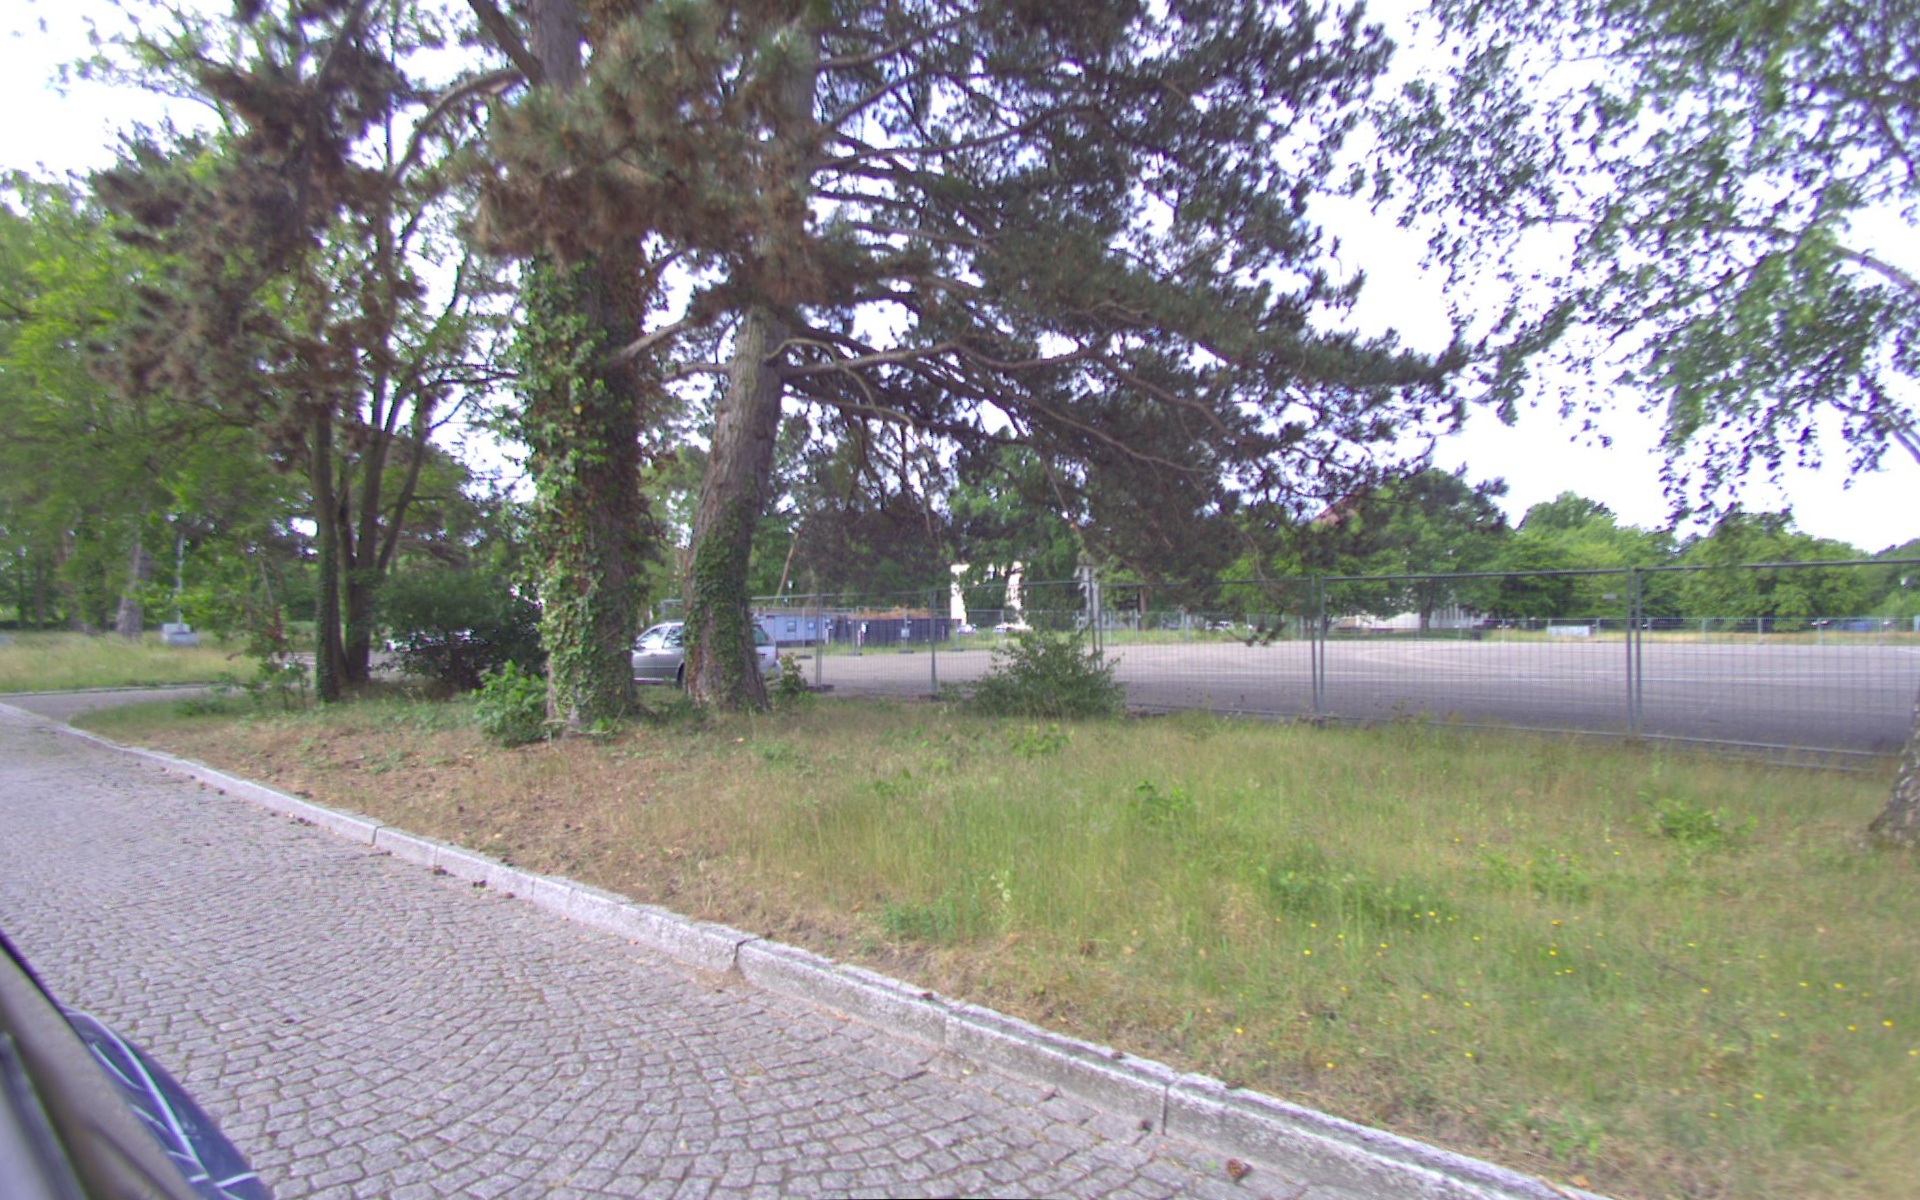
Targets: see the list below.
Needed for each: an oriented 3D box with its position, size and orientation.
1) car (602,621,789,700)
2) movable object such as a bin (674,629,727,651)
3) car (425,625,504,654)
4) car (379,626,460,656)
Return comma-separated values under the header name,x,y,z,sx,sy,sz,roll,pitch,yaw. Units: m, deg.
name,x,y,z,sx,sy,sz,roll,pitch,yaw
car,-5.268,1.130,19.982,3.718,1.421,1.650,-1,-2,38
movable object such as a bin,-13.132,2.017,51.215,2.711,1.079,1.046,-1,-2,31
car,-26.502,2.103,54.101,4.445,1.460,1.975,-1,-2,37
car,-27.705,2.076,51.878,4.445,1.460,1.975,-1,-2,37
